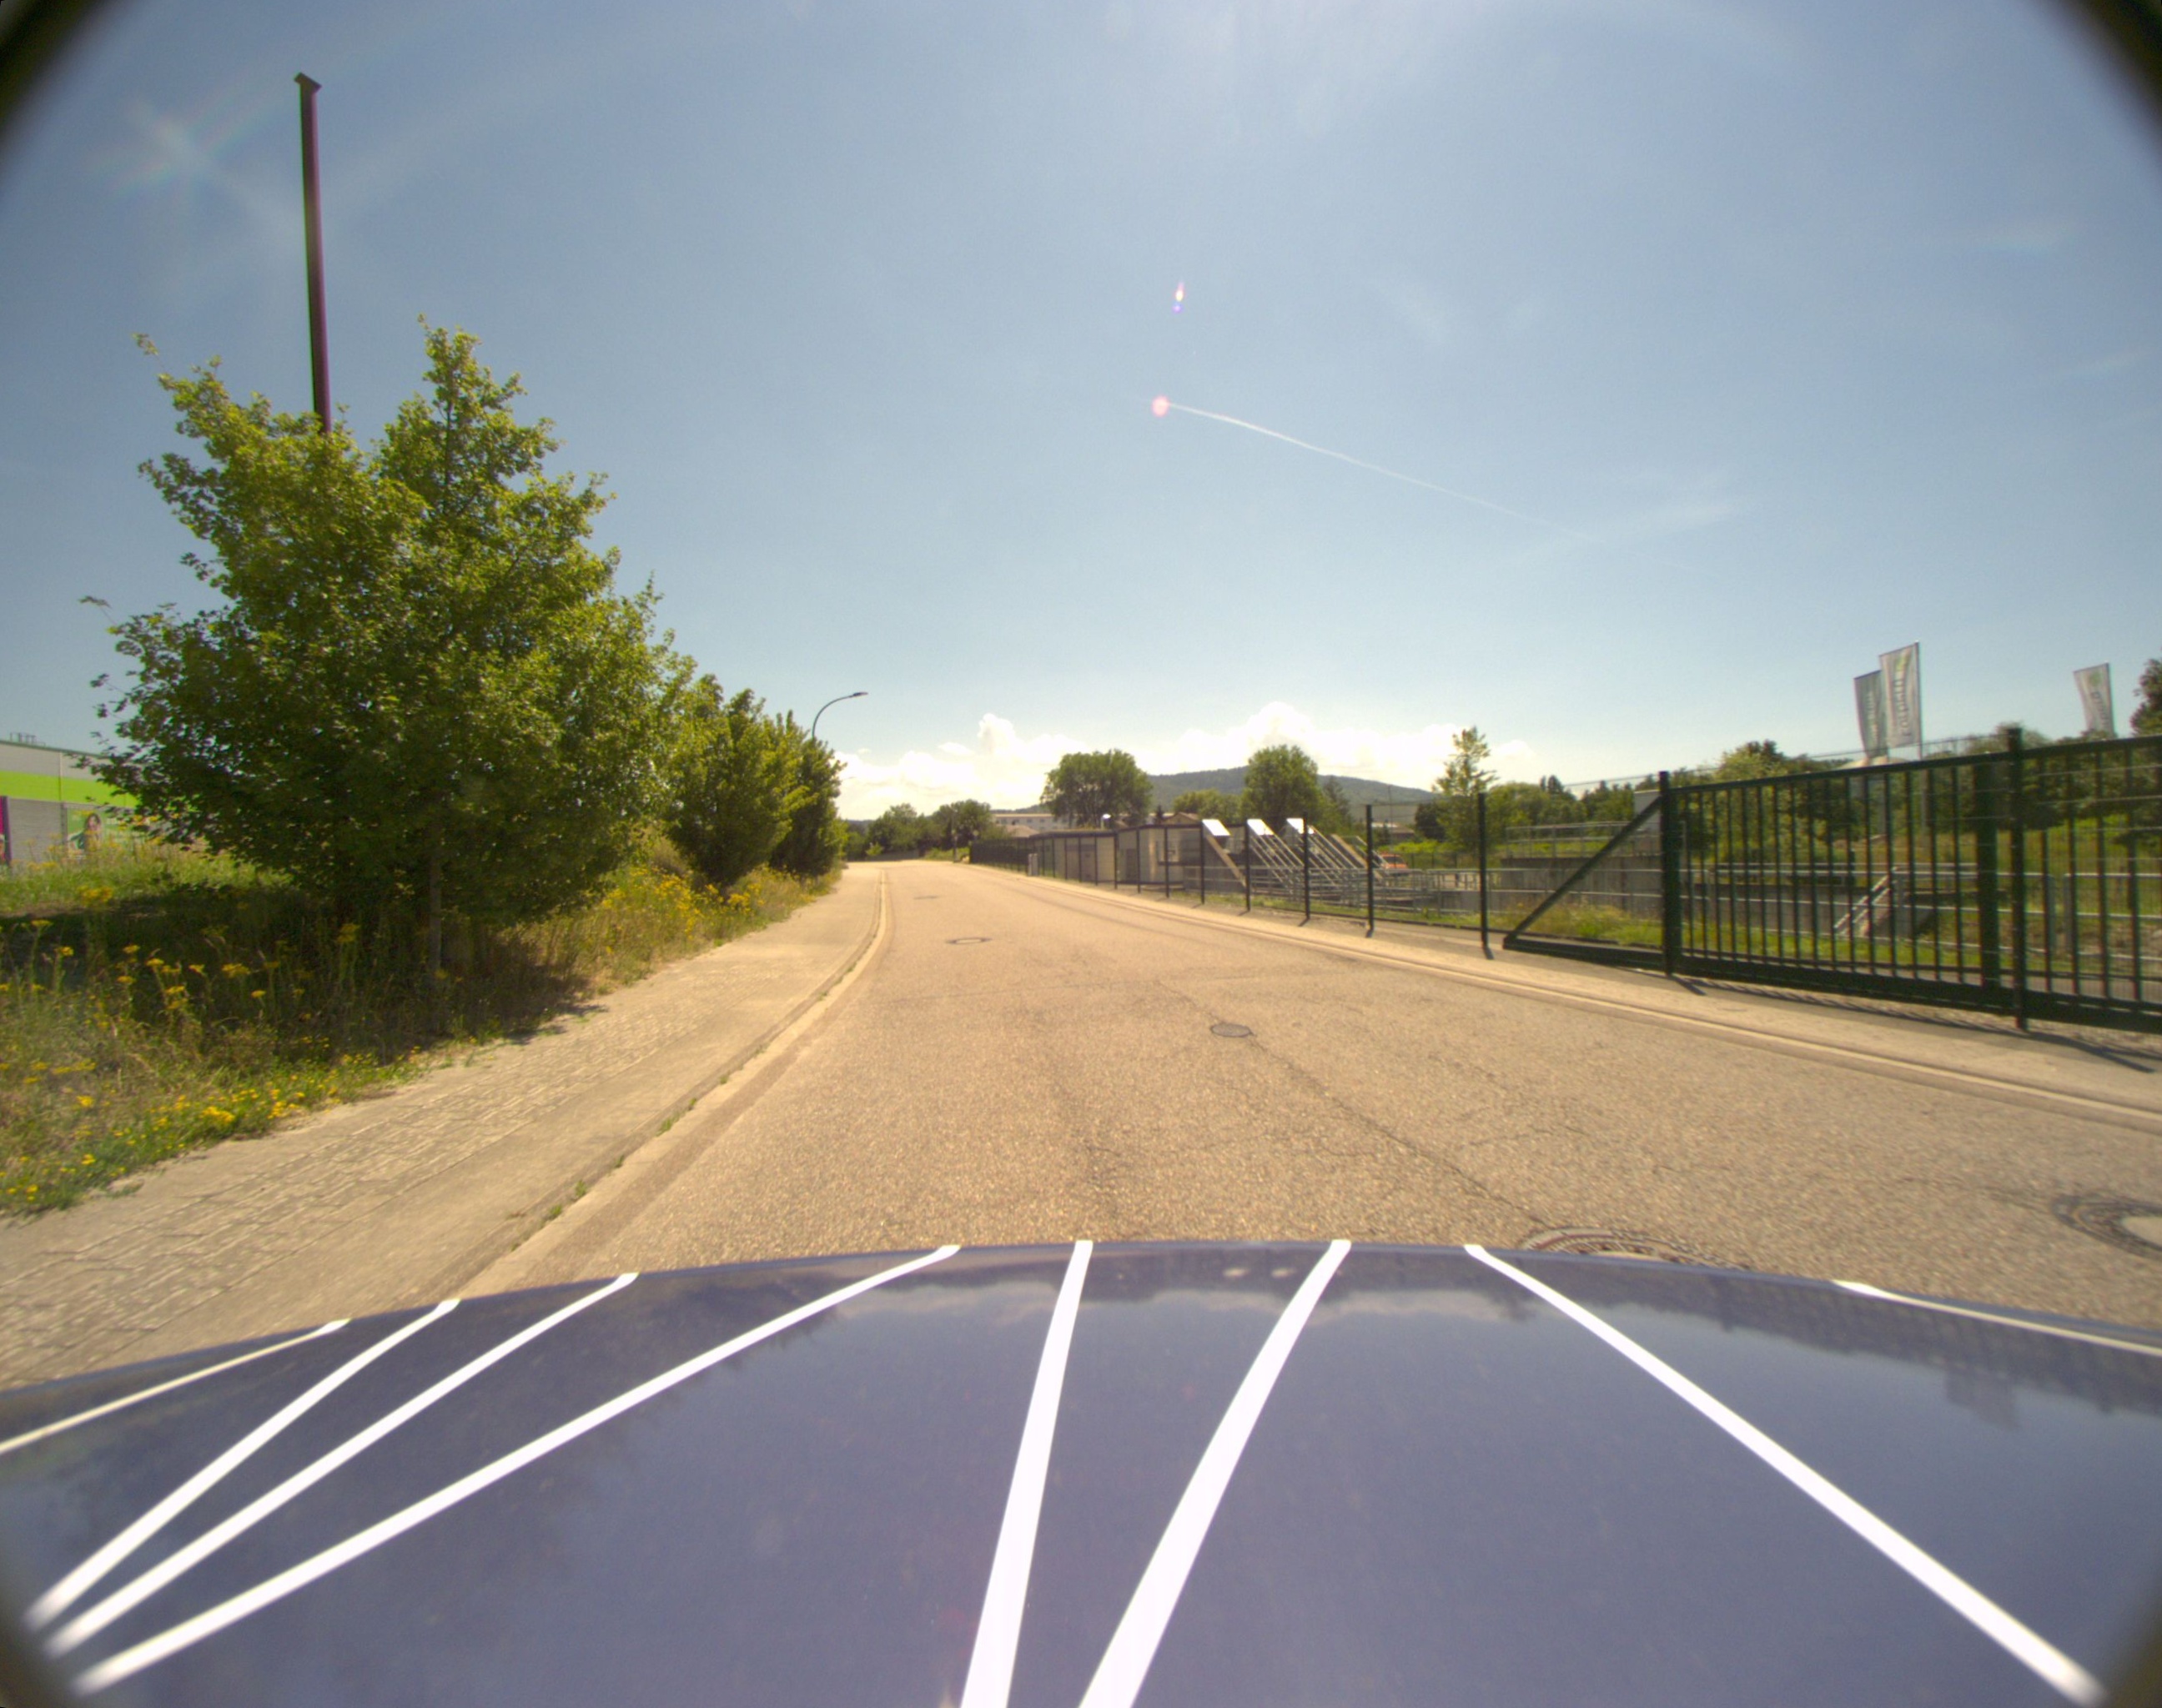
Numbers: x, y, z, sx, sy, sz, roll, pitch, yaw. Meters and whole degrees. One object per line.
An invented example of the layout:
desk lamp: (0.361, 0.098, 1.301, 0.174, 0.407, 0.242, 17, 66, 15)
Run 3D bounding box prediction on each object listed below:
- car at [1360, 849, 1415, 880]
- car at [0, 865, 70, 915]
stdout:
car: (21.164, 0.666, 52.678, 1.998, 2.002, 4.864, 2, 0, 3)
car: (-33.973, 1.081, 22.781, 4.005, 1.414, 1.832, 0, 1, -24)
